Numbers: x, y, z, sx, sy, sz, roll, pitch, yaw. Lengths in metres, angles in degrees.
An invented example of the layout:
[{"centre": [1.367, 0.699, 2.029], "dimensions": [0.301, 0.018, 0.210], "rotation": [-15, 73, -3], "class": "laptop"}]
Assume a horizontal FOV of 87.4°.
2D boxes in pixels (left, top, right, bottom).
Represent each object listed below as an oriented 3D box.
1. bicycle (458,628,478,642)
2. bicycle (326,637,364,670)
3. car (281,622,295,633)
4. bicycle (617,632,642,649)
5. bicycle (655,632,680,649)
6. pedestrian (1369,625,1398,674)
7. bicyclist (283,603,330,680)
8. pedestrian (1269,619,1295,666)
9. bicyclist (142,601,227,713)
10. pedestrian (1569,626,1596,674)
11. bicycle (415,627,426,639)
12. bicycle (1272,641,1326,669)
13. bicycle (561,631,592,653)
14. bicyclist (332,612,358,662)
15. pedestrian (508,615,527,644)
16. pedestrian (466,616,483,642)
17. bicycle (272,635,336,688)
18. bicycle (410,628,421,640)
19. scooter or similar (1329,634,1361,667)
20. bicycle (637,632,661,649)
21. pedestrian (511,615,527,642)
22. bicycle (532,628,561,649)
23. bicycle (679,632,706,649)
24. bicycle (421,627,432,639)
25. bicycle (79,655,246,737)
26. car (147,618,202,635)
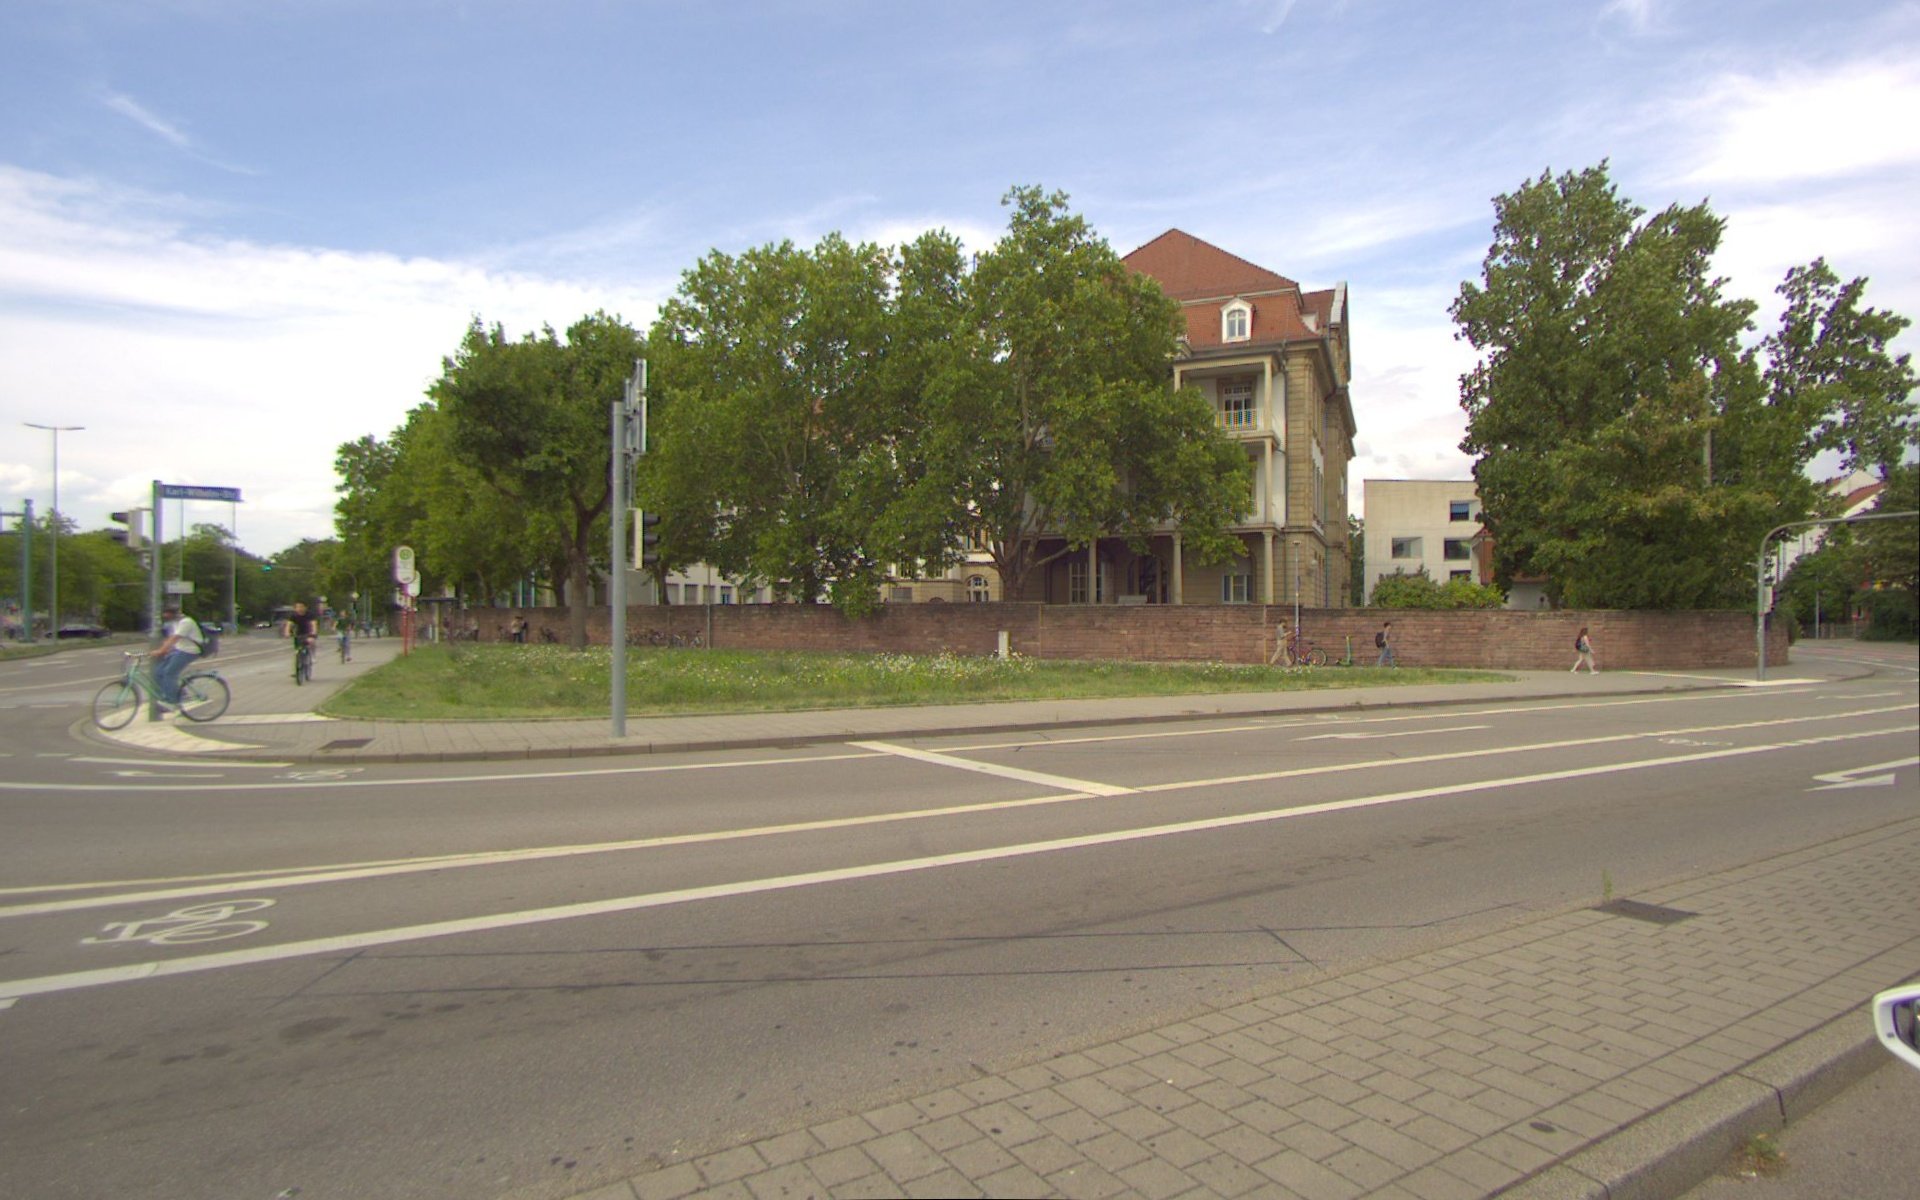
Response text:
[{"centre": [-33.883, 2.393, 69.142], "dimensions": [1.554, 0.899, 0.658], "rotation": [-2, 1, 42], "class": "bicycle"}, {"centre": [-20.028, 1.720, 32.725], "dimensions": [0.497, 0.948, 1.965], "rotation": [0, 1, -14], "class": "bicycle"}, {"centre": [-95.542, 3.856, 142.784], "dimensions": [1.683, 1.500, 4.374], "rotation": [-2, 0, -34], "class": "car"}, {"centre": [-18.087, 2.201, 54.917], "dimensions": [1.794, 0.875, 0.357], "rotation": [-1, -3, 39], "class": "bicycle"}, {"centre": [-15.296, 2.135, 52.537], "dimensions": [1.864, 0.875, 0.357], "rotation": [-2, -4, 43], "class": "bicycle"}, {"centre": [15.097, 1.762, 35.785], "dimensions": [0.766, 1.677, 0.577], "rotation": [-2, 1, 2], "class": "pedestrian"}, {"centre": [-13.659, 0.849, 21.014], "dimensions": [0.570, 1.576, 0.795], "rotation": [0, 1, -14], "class": "bicyclist"}, {"centre": [11.908, 1.572, 37.165], "dimensions": [0.766, 1.677, 0.577], "rotation": [-2, 1, 7], "class": "pedestrian"}, {"centre": [-11.377, 0.812, 14.757], "dimensions": [0.568, 1.576, 0.798], "rotation": [1, 1, 15], "class": "bicyclist"}, {"centre": [22.465, 1.796, 36.238], "dimensions": [0.618, 1.677, 0.531], "rotation": [-2, 1, -7], "class": "pedestrian"}, {"centre": [-42.876, 2.635, 79.777], "dimensions": [0.429, 0.899, 1.558], "rotation": [-4, 1, -39], "class": "bicycle"}, {"centre": [12.756, 2.071, 37.843], "dimensions": [1.888, 1.018, 0.779], "rotation": [-2, 1, 17], "class": "bicycle"}, {"centre": [-22.115, 2.412, 57.902], "dimensions": [2.067, 1.204, 0.755], "rotation": [-1, -3, 40], "class": "bicycle"}, {"centre": [-20.037, 1.196, 32.753], "dimensions": [0.486, 1.576, 0.795], "rotation": [0, 1, -14], "class": "bicyclist"}, {"centre": [-25.755, 1.736, 58.424], "dimensions": [0.655, 1.643, 0.751], "rotation": [-1, 1, 38], "class": "pedestrian"}, {"centre": [-31.301, 1.849, 64.731], "dimensions": [0.655, 1.643, 0.751], "rotation": [-1, 1, 38], "class": "pedestrian"}, {"centre": [-13.660, 1.259, 20.964], "dimensions": [0.497, 0.948, 1.965], "rotation": [0, 1, -14], "class": "bicycle"}, {"centre": [-44.057, 2.757, 81.230], "dimensions": [0.429, 0.899, 1.558], "rotation": [-4, 1, -39], "class": "bicycle"}, {"centre": [14.341, 1.873, 37.418], "dimensions": [0.513, 1.154, 1.509], "rotation": [-1, 1, 45], "class": "scooter or similar"}, {"centre": [-16.664, 2.169, 53.789], "dimensions": [1.783, 0.875, 0.357], "rotation": [-1, -4, 42], "class": "bicycle"}, {"centre": [-27.416, 1.756, 62.465], "dimensions": [0.743, 1.643, 0.566], "rotation": [-1, 1, 40], "class": "pedestrian"}, {"centre": [-24.899, 2.309, 60.455], "dimensions": [2.067, 1.204, 0.755], "rotation": [-1, -3, 40], "class": "bicycle"}, {"centre": [-13.846, 2.095, 51.900], "dimensions": [1.681, 0.875, 0.357], "rotation": [-1, -3, 36], "class": "bicycle"}, {"centre": [-41.696, 2.606, 78.521], "dimensions": [0.429, 0.899, 1.558], "rotation": [-4, 1, -39], "class": "bicycle"}, {"centre": [-11.445, 1.344, 14.507], "dimensions": [0.496, 0.948, 1.972], "rotation": [1, 1, 15], "class": "bicycle"}, {"centre": [-74.918, 2.526, 95.795], "dimensions": [4.046, 1.509, 1.791], "rotation": [1, -1, 9], "class": "car"}]
